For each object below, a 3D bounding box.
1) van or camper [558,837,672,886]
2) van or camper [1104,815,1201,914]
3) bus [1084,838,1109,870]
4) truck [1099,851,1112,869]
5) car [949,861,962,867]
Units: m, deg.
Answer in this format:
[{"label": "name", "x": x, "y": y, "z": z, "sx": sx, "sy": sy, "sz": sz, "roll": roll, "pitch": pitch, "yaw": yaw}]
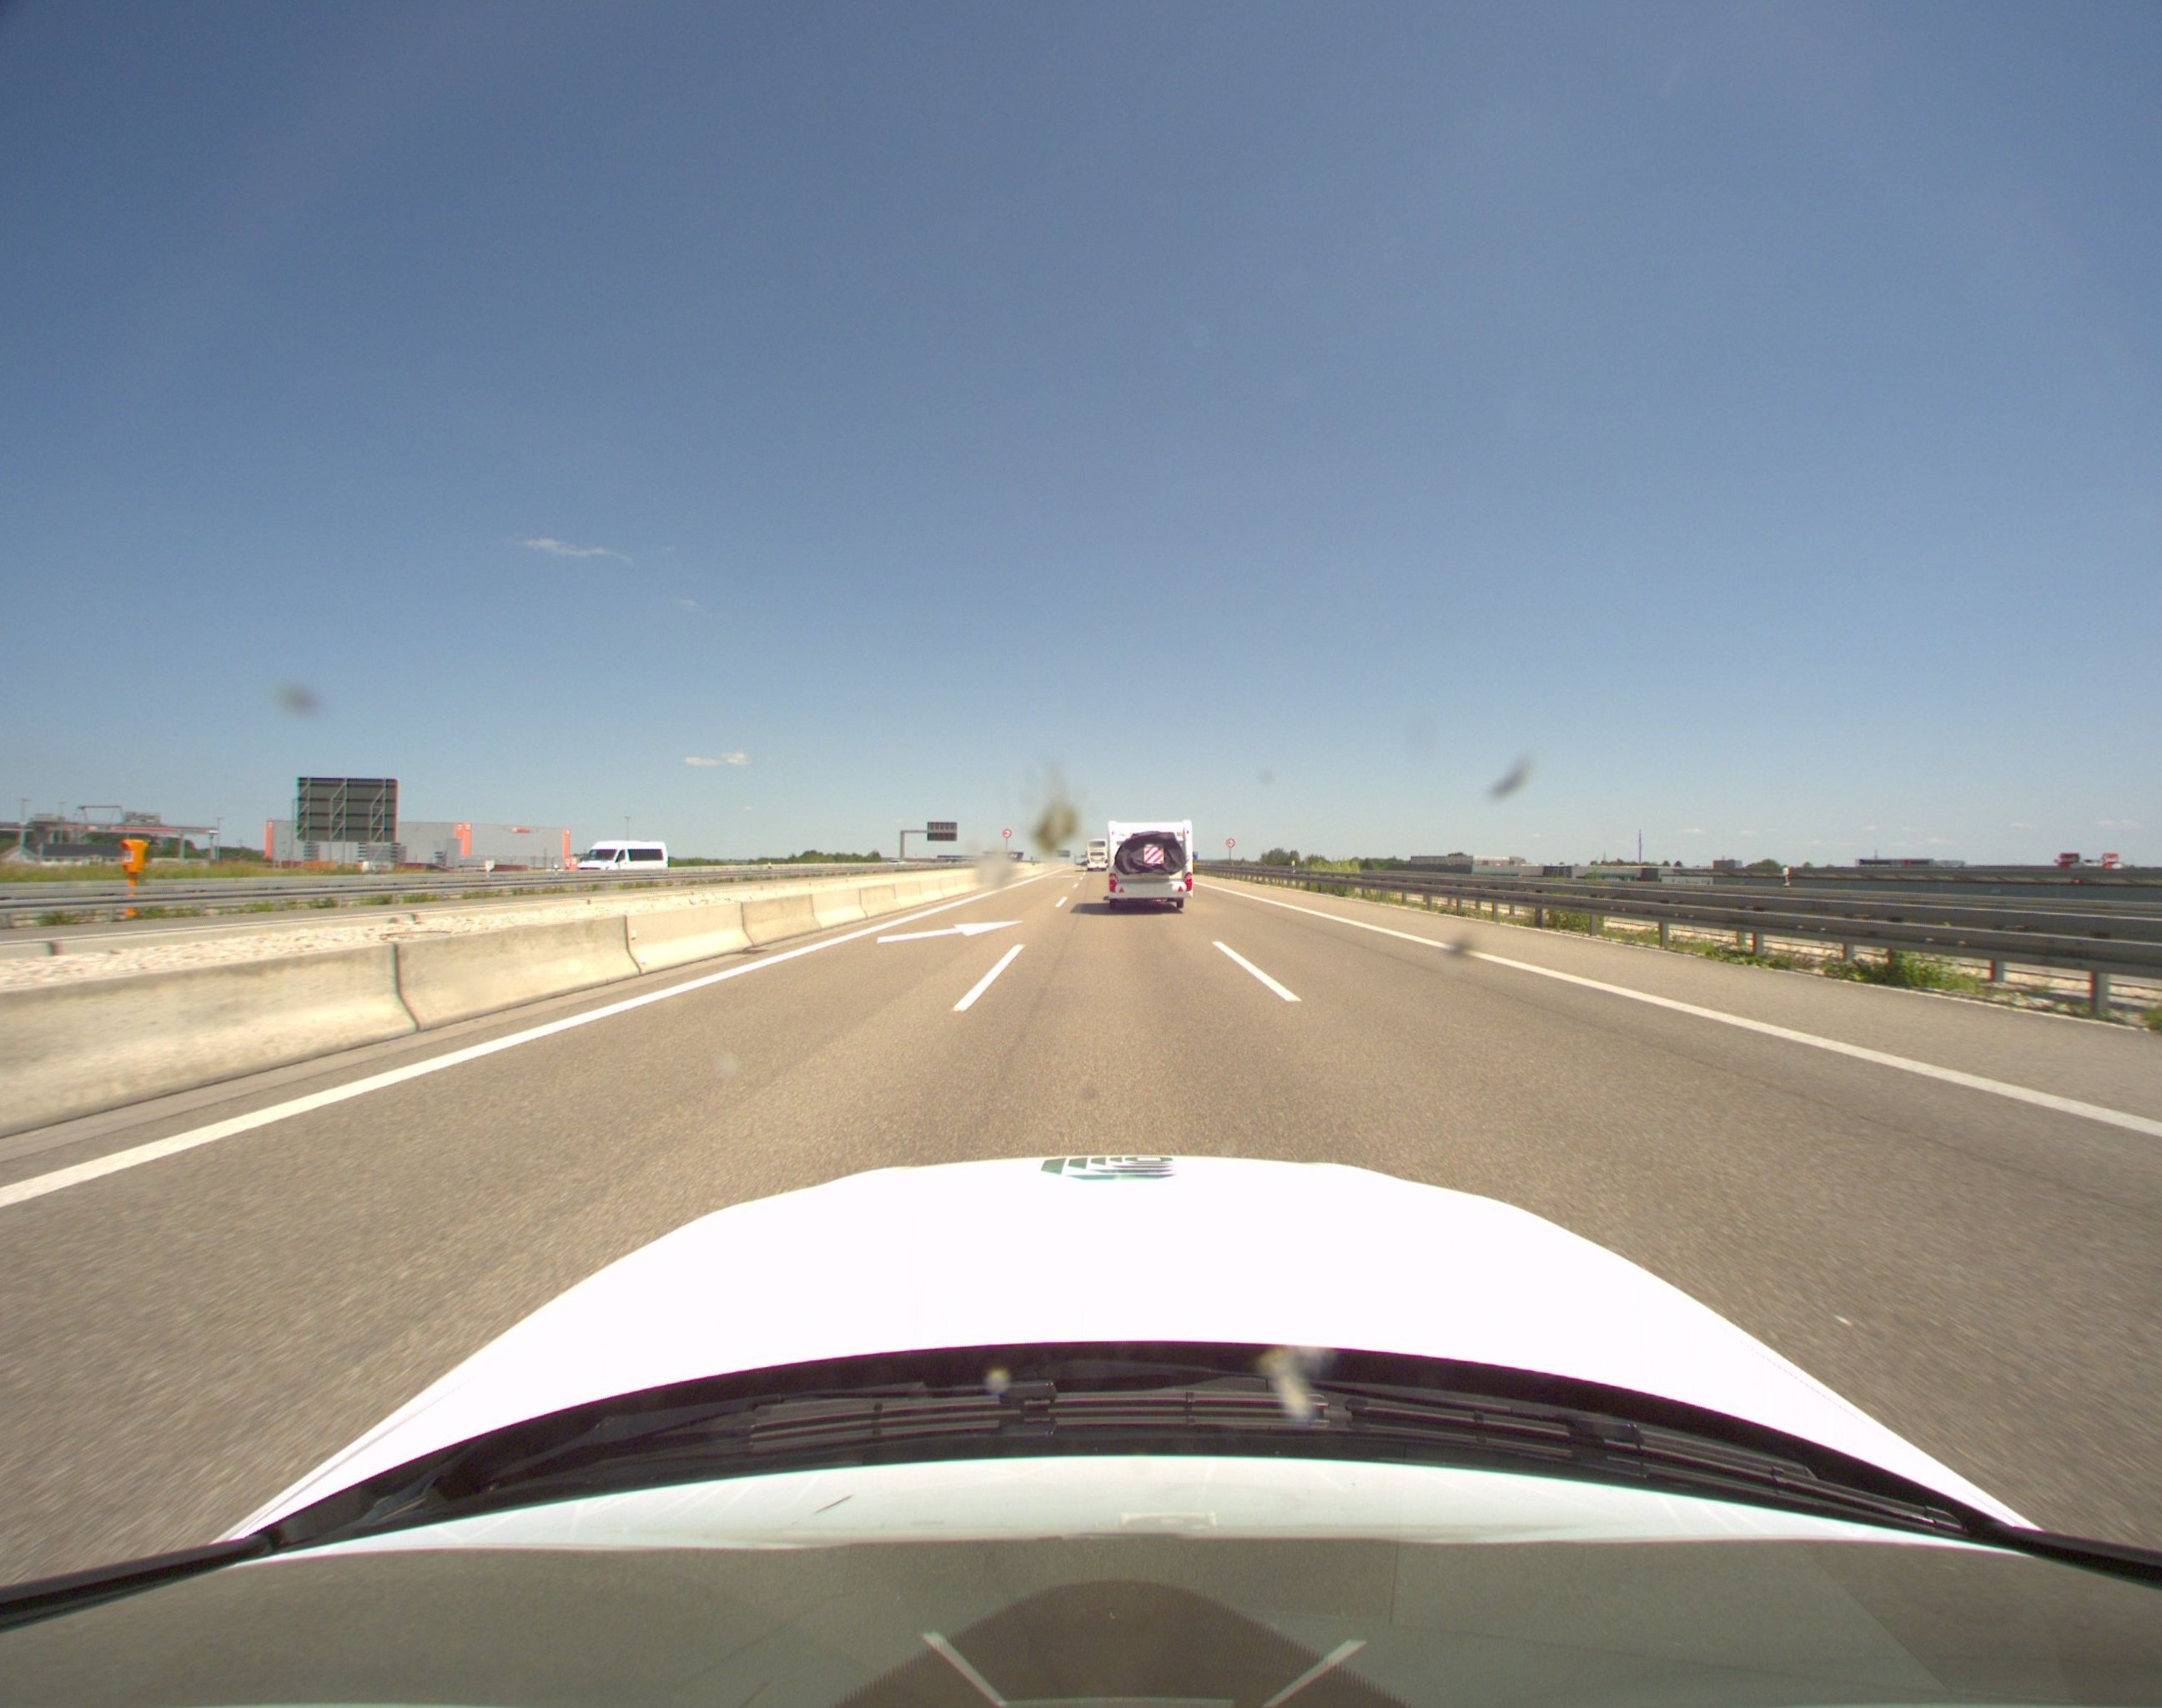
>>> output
[{"label": "van or camper", "x": -28.780, "y": 0.451, "z": 50.764, "sx": 2.536, "sy": 2.822, "sz": 7.545, "roll": 0, "pitch": -1, "yaw": 2}, {"label": "van or camper", "x": 2.006, "y": 0.306, "z": 25.236, "sx": 2.503, "sy": 2.593, "sz": 7.820, "roll": 0, "pitch": 0, "yaw": 2}, {"label": "bus", "x": 1.946, "y": 0.071, "z": 106.481, "sx": 2.972, "sy": 3.975, "sz": 9.100, "roll": 0, "pitch": 0, "yaw": -1}, {"label": "truck", "x": 6.780, "y": 1.713, "z": 226.297, "sx": 3.367, "sy": 4.465, "sz": 13.567, "roll": 0, "pitch": -3, "yaw": 2}, {"label": "car", "x": -27.380, "y": 2.192, "z": 178.314, "sx": 1.985, "sy": 1.379, "sz": 4.365, "roll": 0, "pitch": 0, "yaw": 3}]
